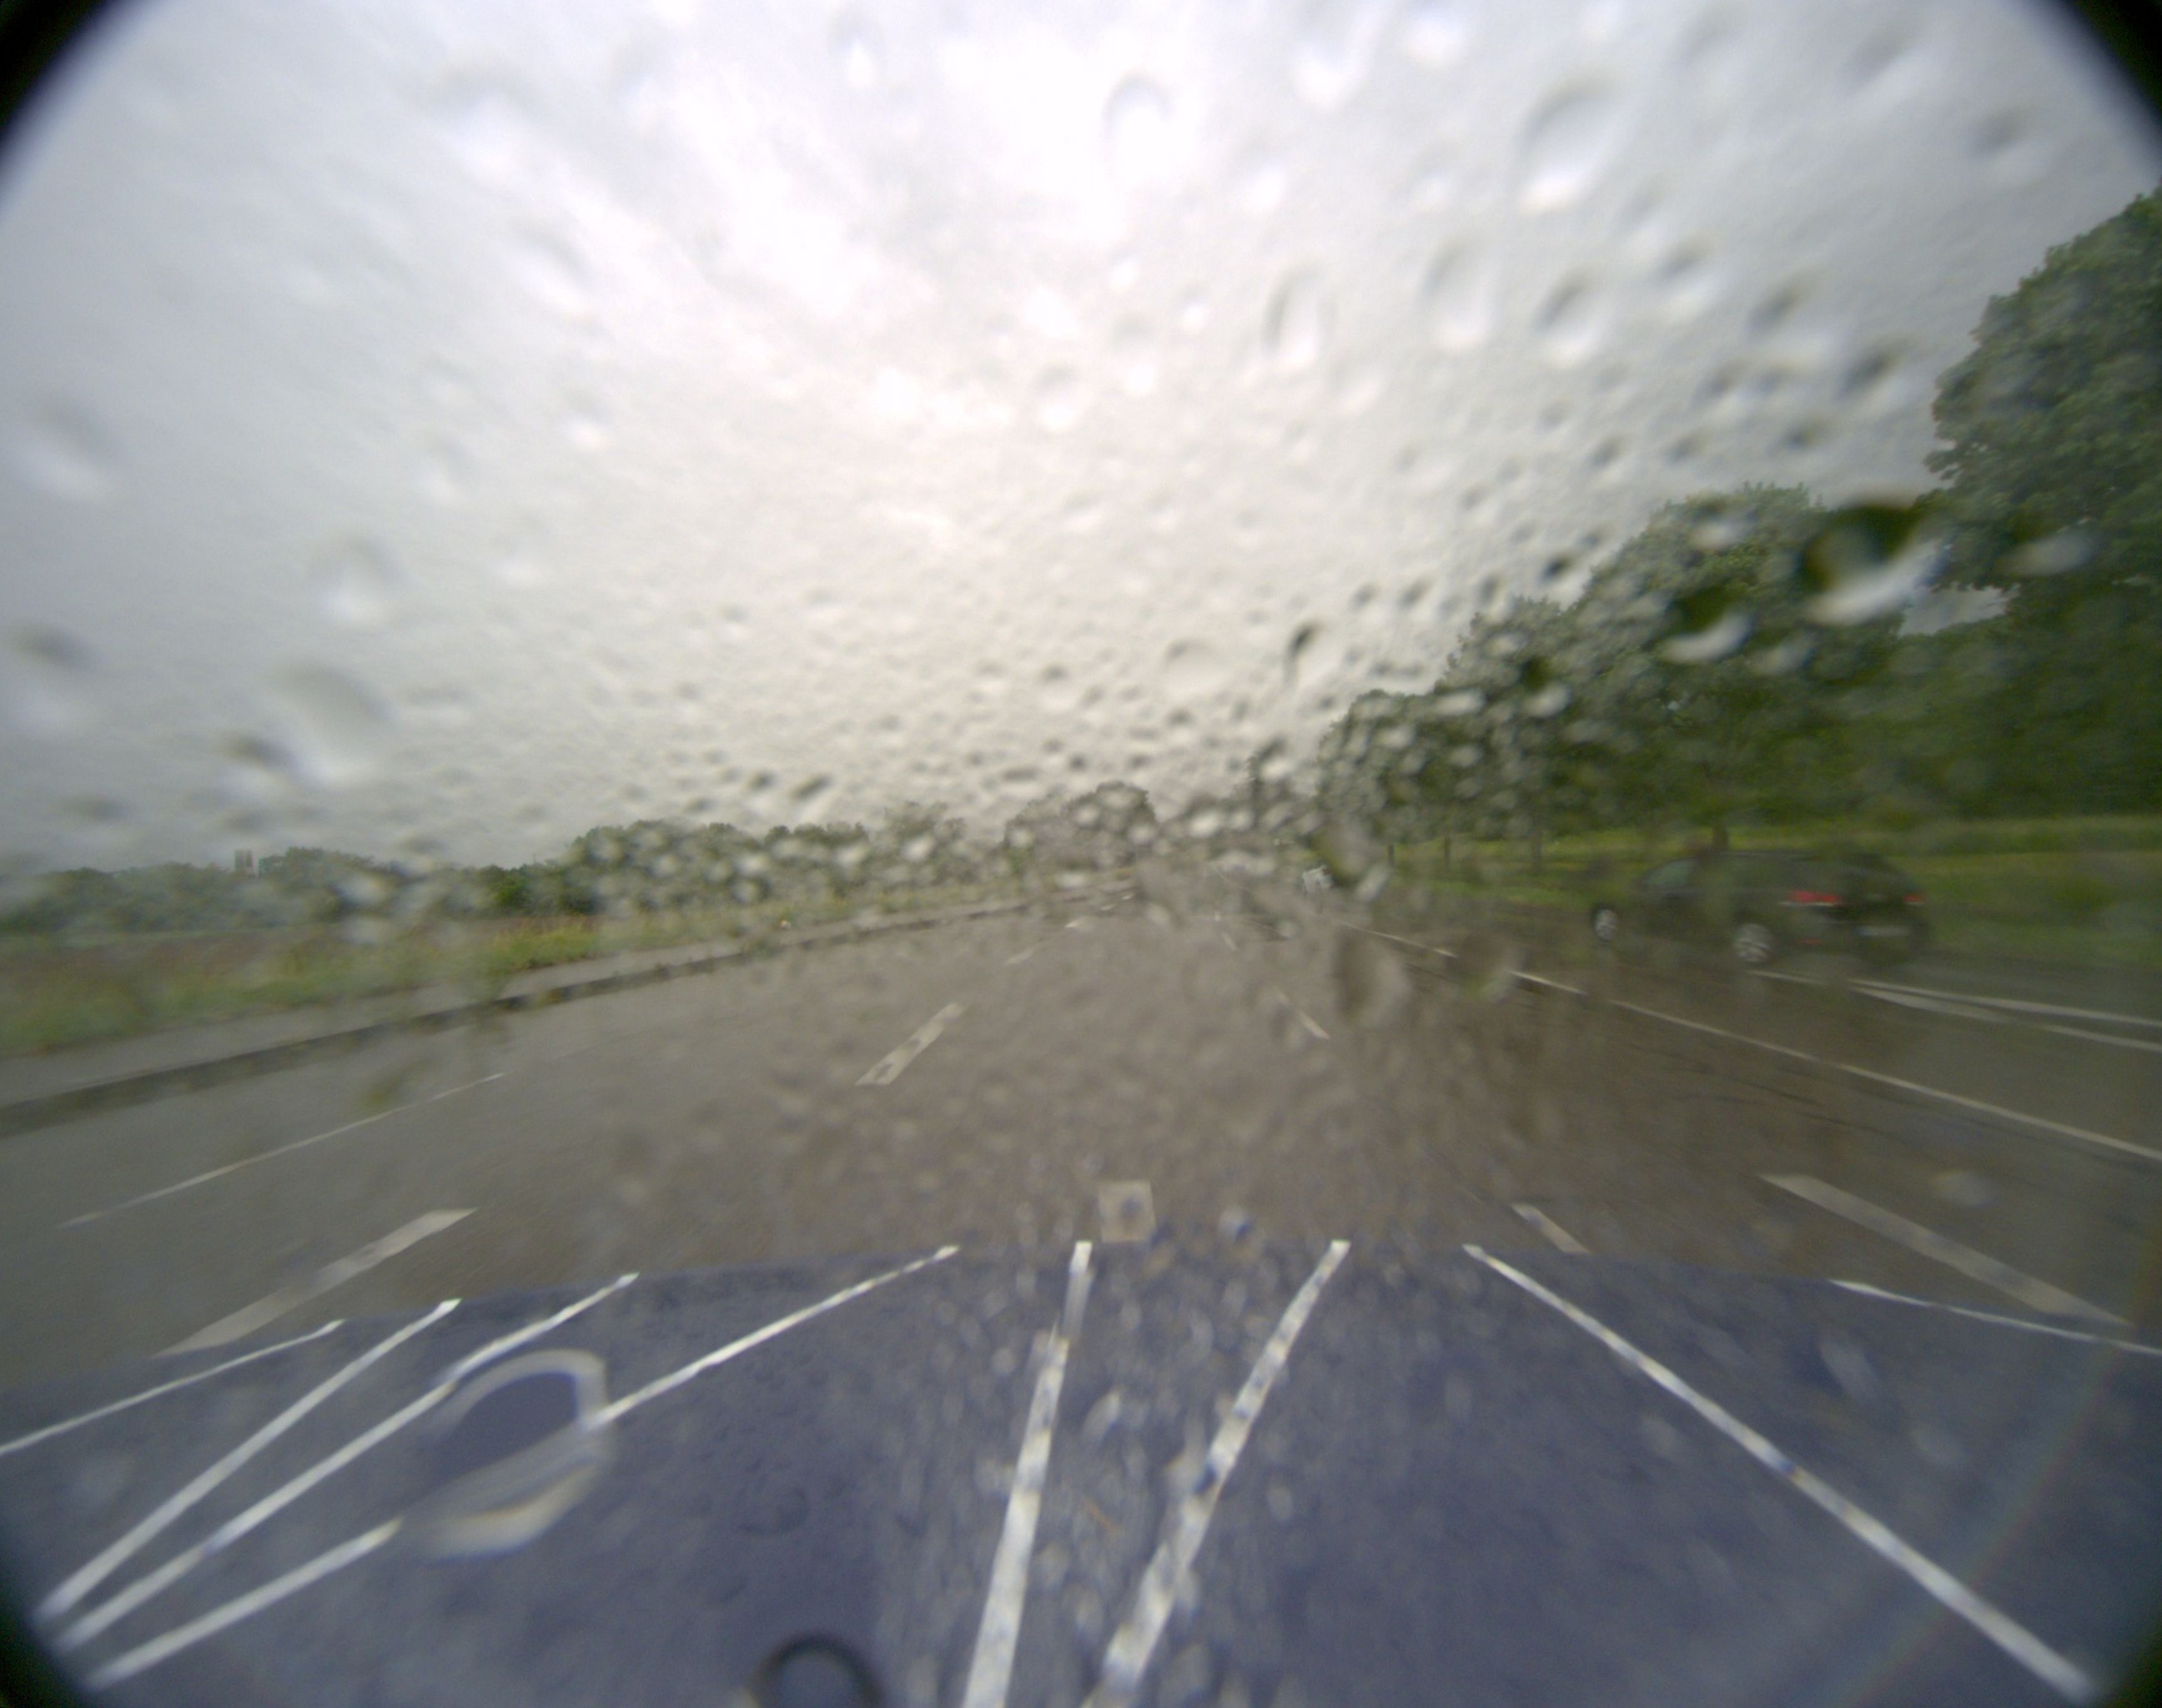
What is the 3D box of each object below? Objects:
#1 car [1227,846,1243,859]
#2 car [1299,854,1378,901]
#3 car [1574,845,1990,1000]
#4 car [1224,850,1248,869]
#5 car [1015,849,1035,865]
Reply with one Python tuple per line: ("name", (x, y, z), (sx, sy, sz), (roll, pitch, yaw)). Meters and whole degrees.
("car", (20.767, -0.178, 102.696), (1.744, 1.694, 4.225), (-1, 0, 7))
("car", (8.886, 0.766, 26.537), (1.743, 1.478, 4.012), (-1, 0, 5))
("car", (9.068, 0.735, 10.436), (1.889, 1.578, 4.118), (-4, 1, 1))
("car", (15.245, 0.502, 74.701), (1.928, 1.733, 4.290), (-1, 0, 6))
("car", (-6.044, 0.294, 81.215), (1.885, 1.564, 4.641), (-1, 0, -7))
